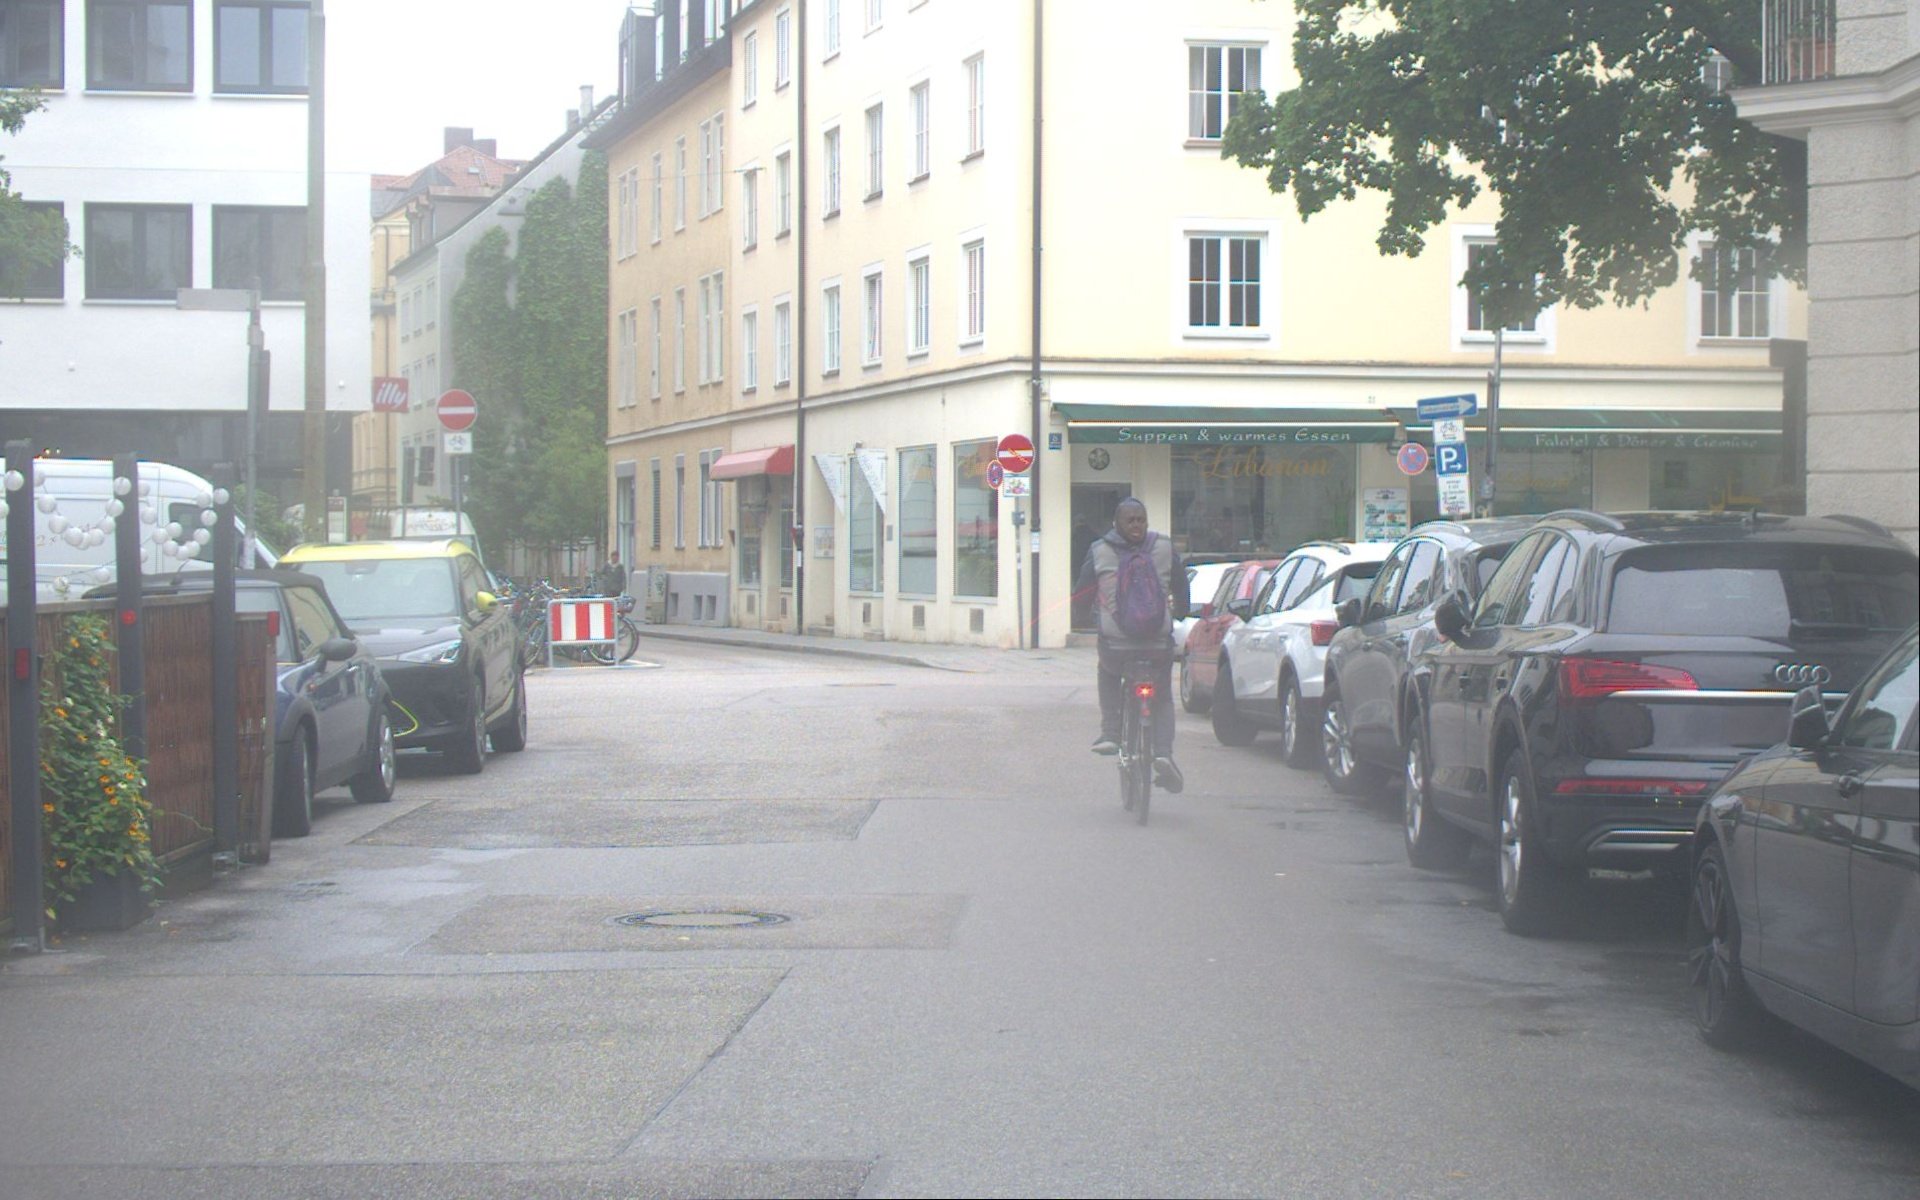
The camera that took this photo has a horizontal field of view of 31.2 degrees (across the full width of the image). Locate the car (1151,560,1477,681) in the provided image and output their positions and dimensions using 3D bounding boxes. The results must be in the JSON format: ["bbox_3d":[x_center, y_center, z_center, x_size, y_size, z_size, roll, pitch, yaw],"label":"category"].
[{"bbox_3d":[4.526,0.283,44.325,3.987,1.411,1.820,1,-3,0],"label":"car"}]

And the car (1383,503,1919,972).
[{"bbox_3d":[2.959,0.459,14.462,1.777,1.630,4.375,2,1,0],"label":"car"}]

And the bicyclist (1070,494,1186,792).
[{"bbox_3d":[0.919,0.222,18.918,0.606,1.601,0.757,0,1,1],"label":"bicyclist"}]

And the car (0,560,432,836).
[{"bbox_3d":[-4.217,0.480,19.573,1.707,1.385,4.000,-1,1,1],"label":"car"}]

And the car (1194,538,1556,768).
[{"bbox_3d":[2.870,0.320,24.608,1.750,1.491,3.910,1,1,-6],"label":"car"}]

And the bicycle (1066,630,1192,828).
[{"bbox_3d":[0.914,0.687,18.866,0.639,1.001,1.574,1,1,1],"label":"bicycle"}]

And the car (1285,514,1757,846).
[{"bbox_3d":[3.115,0.379,20.006,1.789,1.707,4.427,0,1,-3],"label":"car"}]

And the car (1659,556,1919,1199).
[{"bbox_3d":[3.036,0.648,8.716,1.706,1.466,4.201,1,1,1],"label":"car"}]

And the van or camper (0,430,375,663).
[{"bbox_3d":[-9.924,-0.603,40.640,5.903,2.668,1.873,0,-1,-10],"label":"van or camper"}]

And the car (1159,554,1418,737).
[{"bbox_3d":[2.817,0.347,30.295,1.669,1.430,4.214,1,1,-3],"label":"car"}]

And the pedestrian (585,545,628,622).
[{"bbox_3d":[-8.247,-0.387,80.217,0.877,1.772,0.774,0,1,-13],"label":"pedestrian"}]

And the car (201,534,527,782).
[{"bbox_3d":[-4.162,0.365,24.562,1.676,1.591,3.945,-1,1,-1],"label":"car"}]

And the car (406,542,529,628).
[{"bbox_3d":[-9.072,-0.294,63.096,1.832,1.530,4.001,0,1,-14],"label":"car"}]

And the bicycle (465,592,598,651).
[{"bbox_3d":[-6.461,0.322,51.843,1.910,0.860,0.619,0,1,-18],"label":"bicycle"}]

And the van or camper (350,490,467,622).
[{"bbox_3d":[-10.998,-0.876,68.365,1.993,2.531,4.762,0,1,-13],"label":"van or camper"}]
